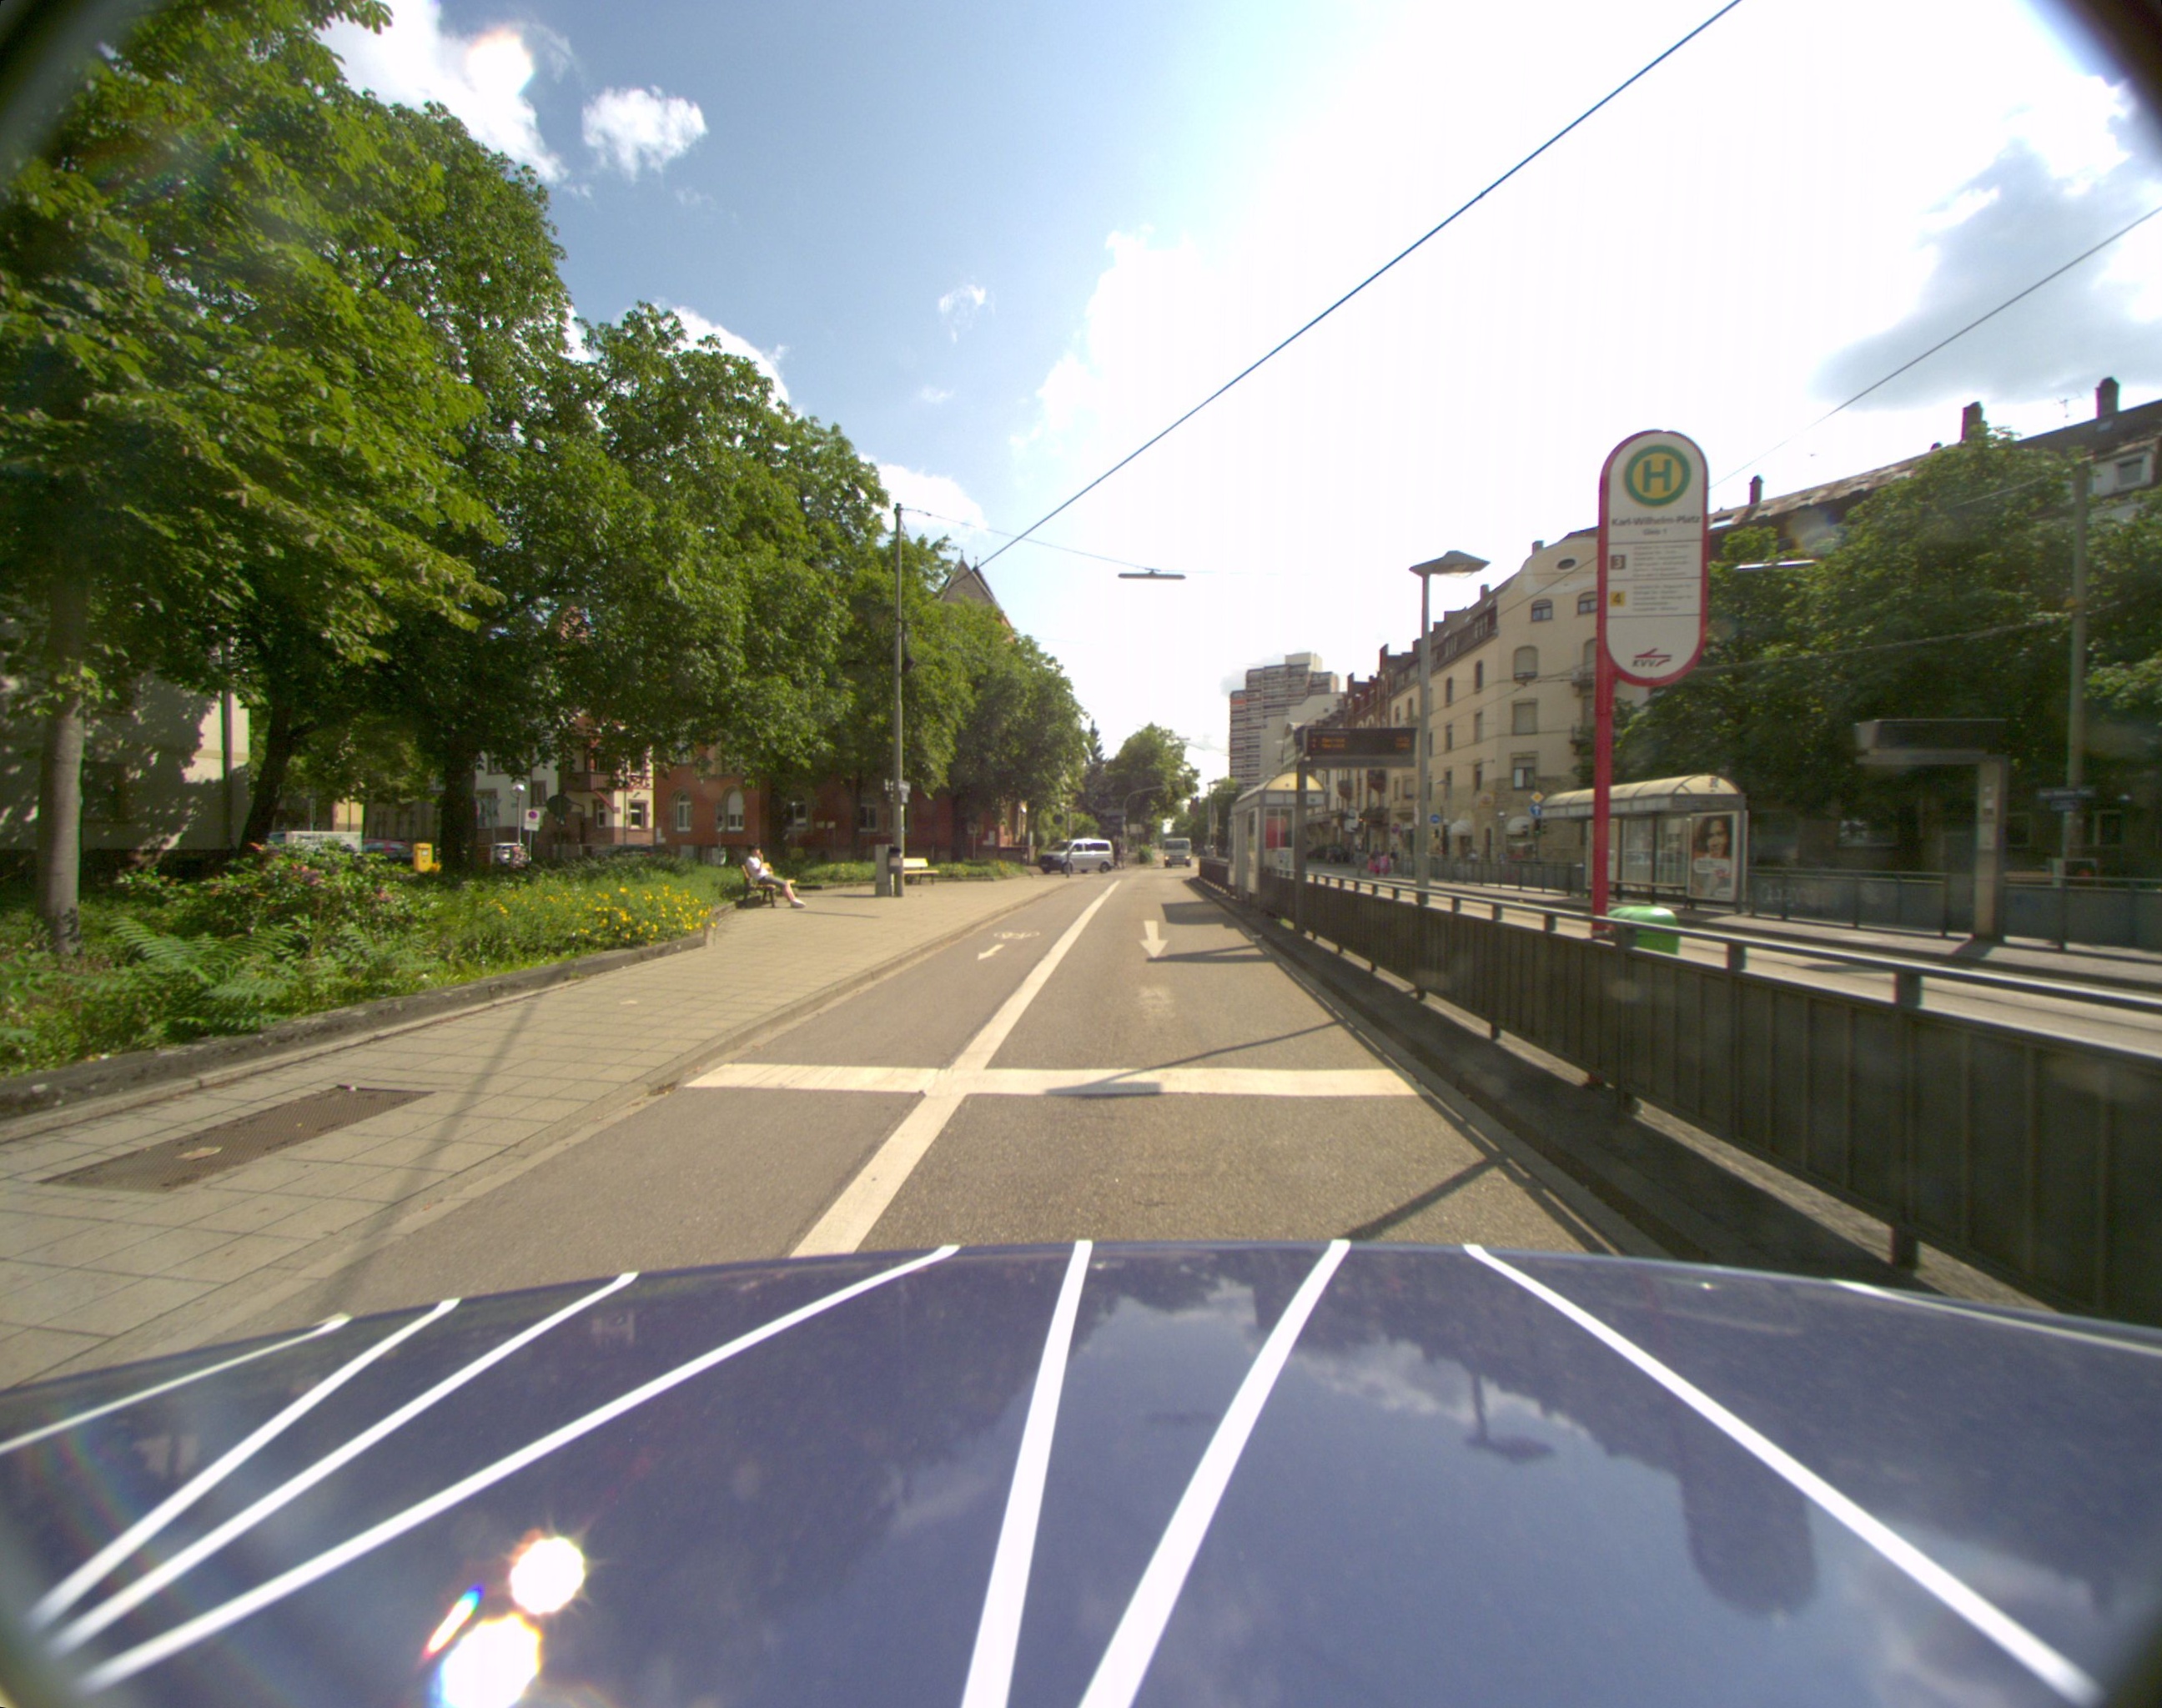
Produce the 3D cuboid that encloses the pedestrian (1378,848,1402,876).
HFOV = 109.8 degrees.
[{"bbox_3d":[15.186,0.398,37.309,0.827,1.296,0.717,3,2,0],"label":"pedestrian"}]

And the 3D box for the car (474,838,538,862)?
[{"bbox_3d":[-36.860,-0.282,48.687,3.988,1.477,1.874,1,1,31],"label":"car"}]

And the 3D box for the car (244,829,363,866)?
[{"bbox_3d":[-41.247,-0.353,40.414,1.843,1.849,4.007,1,1,25],"label":"car"}]

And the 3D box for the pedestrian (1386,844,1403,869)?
[{"bbox_3d":[21.365,0.154,51.857,0.758,1.695,0.874,-4,1,4],"label":"pedestrian"}]

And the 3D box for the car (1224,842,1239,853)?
[{"bbox_3d":[22.864,-1.021,115.646,1.795,1.701,4.332,1,1,4],"label":"car"}]

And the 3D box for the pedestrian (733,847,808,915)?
[{"bbox_3d":[-6.073,0.514,14.880,1.195,1.262,0.558,3,2,0],"label":"pedestrian"}]

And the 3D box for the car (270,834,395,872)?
[{"bbox_3d":[-37.367,-0.100,38.055,1.973,1.783,4.007,1,1,26],"label":"car"}]

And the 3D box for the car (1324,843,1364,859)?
[{"bbox_3d":[25.643,-0.302,74.151,3.451,1.478,1.707,-2,1,6],"label":"car"}]

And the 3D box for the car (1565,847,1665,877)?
[{"bbox_3d":[27.116,0.380,38.677,1.724,1.412,3.862,-1,1,-42],"label":"car"}]

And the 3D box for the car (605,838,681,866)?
[{"bbox_3d":[-24.531,-0.125,42.539,3.988,1.477,1.940,1,1,31],"label":"car"}]

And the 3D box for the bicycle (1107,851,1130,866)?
[{"bbox_3d":[2.600,0.303,52.732,1.849,1.029,0.389,0,1,-40],"label":"bicycle"}]

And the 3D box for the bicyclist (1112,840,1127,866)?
[{"bbox_3d":[2.677,-0.073,52.873,0.736,1.809,0.819,0,1,-17],"label":"bicyclist"}]

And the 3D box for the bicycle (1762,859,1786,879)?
[{"bbox_3d":[32.922,0.702,36.082,2.035,0.877,0.510,-2,3,-39],"label":"bicycle"}]

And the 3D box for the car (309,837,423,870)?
[{"bbox_3d":[-32.727,-0.051,34.881,1.558,1.414,3.419,1,1,24],"label":"car"}]

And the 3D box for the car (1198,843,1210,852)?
[{"bbox_3d":[21.380,-1.149,132.367,1.628,1.379,3.436,2,1,4],"label":"car"}]

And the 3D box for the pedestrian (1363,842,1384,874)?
[{"bbox_3d":[14.655,0.200,38.103,0.730,1.557,0.799,0,2,1],"label":"pedestrian"}]

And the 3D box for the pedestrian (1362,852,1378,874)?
[{"bbox_3d":[14.705,0.433,38.697,0.642,1.108,0.443,0,2,0],"label":"pedestrian"}]

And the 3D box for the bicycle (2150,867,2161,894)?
[{"bbox_3d":[38.054,0.920,26.400,2.033,0.893,0.571,-1,2,-22],"label":"bicycle"}]

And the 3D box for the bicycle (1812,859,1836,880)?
[{"bbox_3d":[33.936,0.689,34.700,2.035,0.877,0.545,-2,3,-39],"label":"bicycle"}]

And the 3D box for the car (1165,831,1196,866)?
[{"bbox_3d":[7.726,-0.448,59.466,2.166,2.572,5.665,0,1,5],"label":"car"}]

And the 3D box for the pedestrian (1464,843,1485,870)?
[{"bbox_3d":[23.113,0.157,44.650,0.695,1.533,0.964,-4,1,6],"label":"pedestrian"}]

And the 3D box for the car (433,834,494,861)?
[{"bbox_3d":[-41.269,-0.457,50.797,3.989,1.696,1.728,1,1,28],"label":"car"}]

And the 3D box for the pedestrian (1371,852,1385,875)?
[{"bbox_3d":[14.663,0.463,37.511,0.438,1.102,0.423,3,2,0],"label":"pedestrian"}]

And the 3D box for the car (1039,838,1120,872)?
[{"bbox_3d":[-0.021,0.026,44.351,4.855,1.856,1.827,-1,1,-45],"label":"car"}]

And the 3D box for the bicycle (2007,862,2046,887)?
[{"bbox_3d":[36.833,0.789,29.587,2.034,0.893,0.570,-2,2,-28],"label":"bicycle"}]
